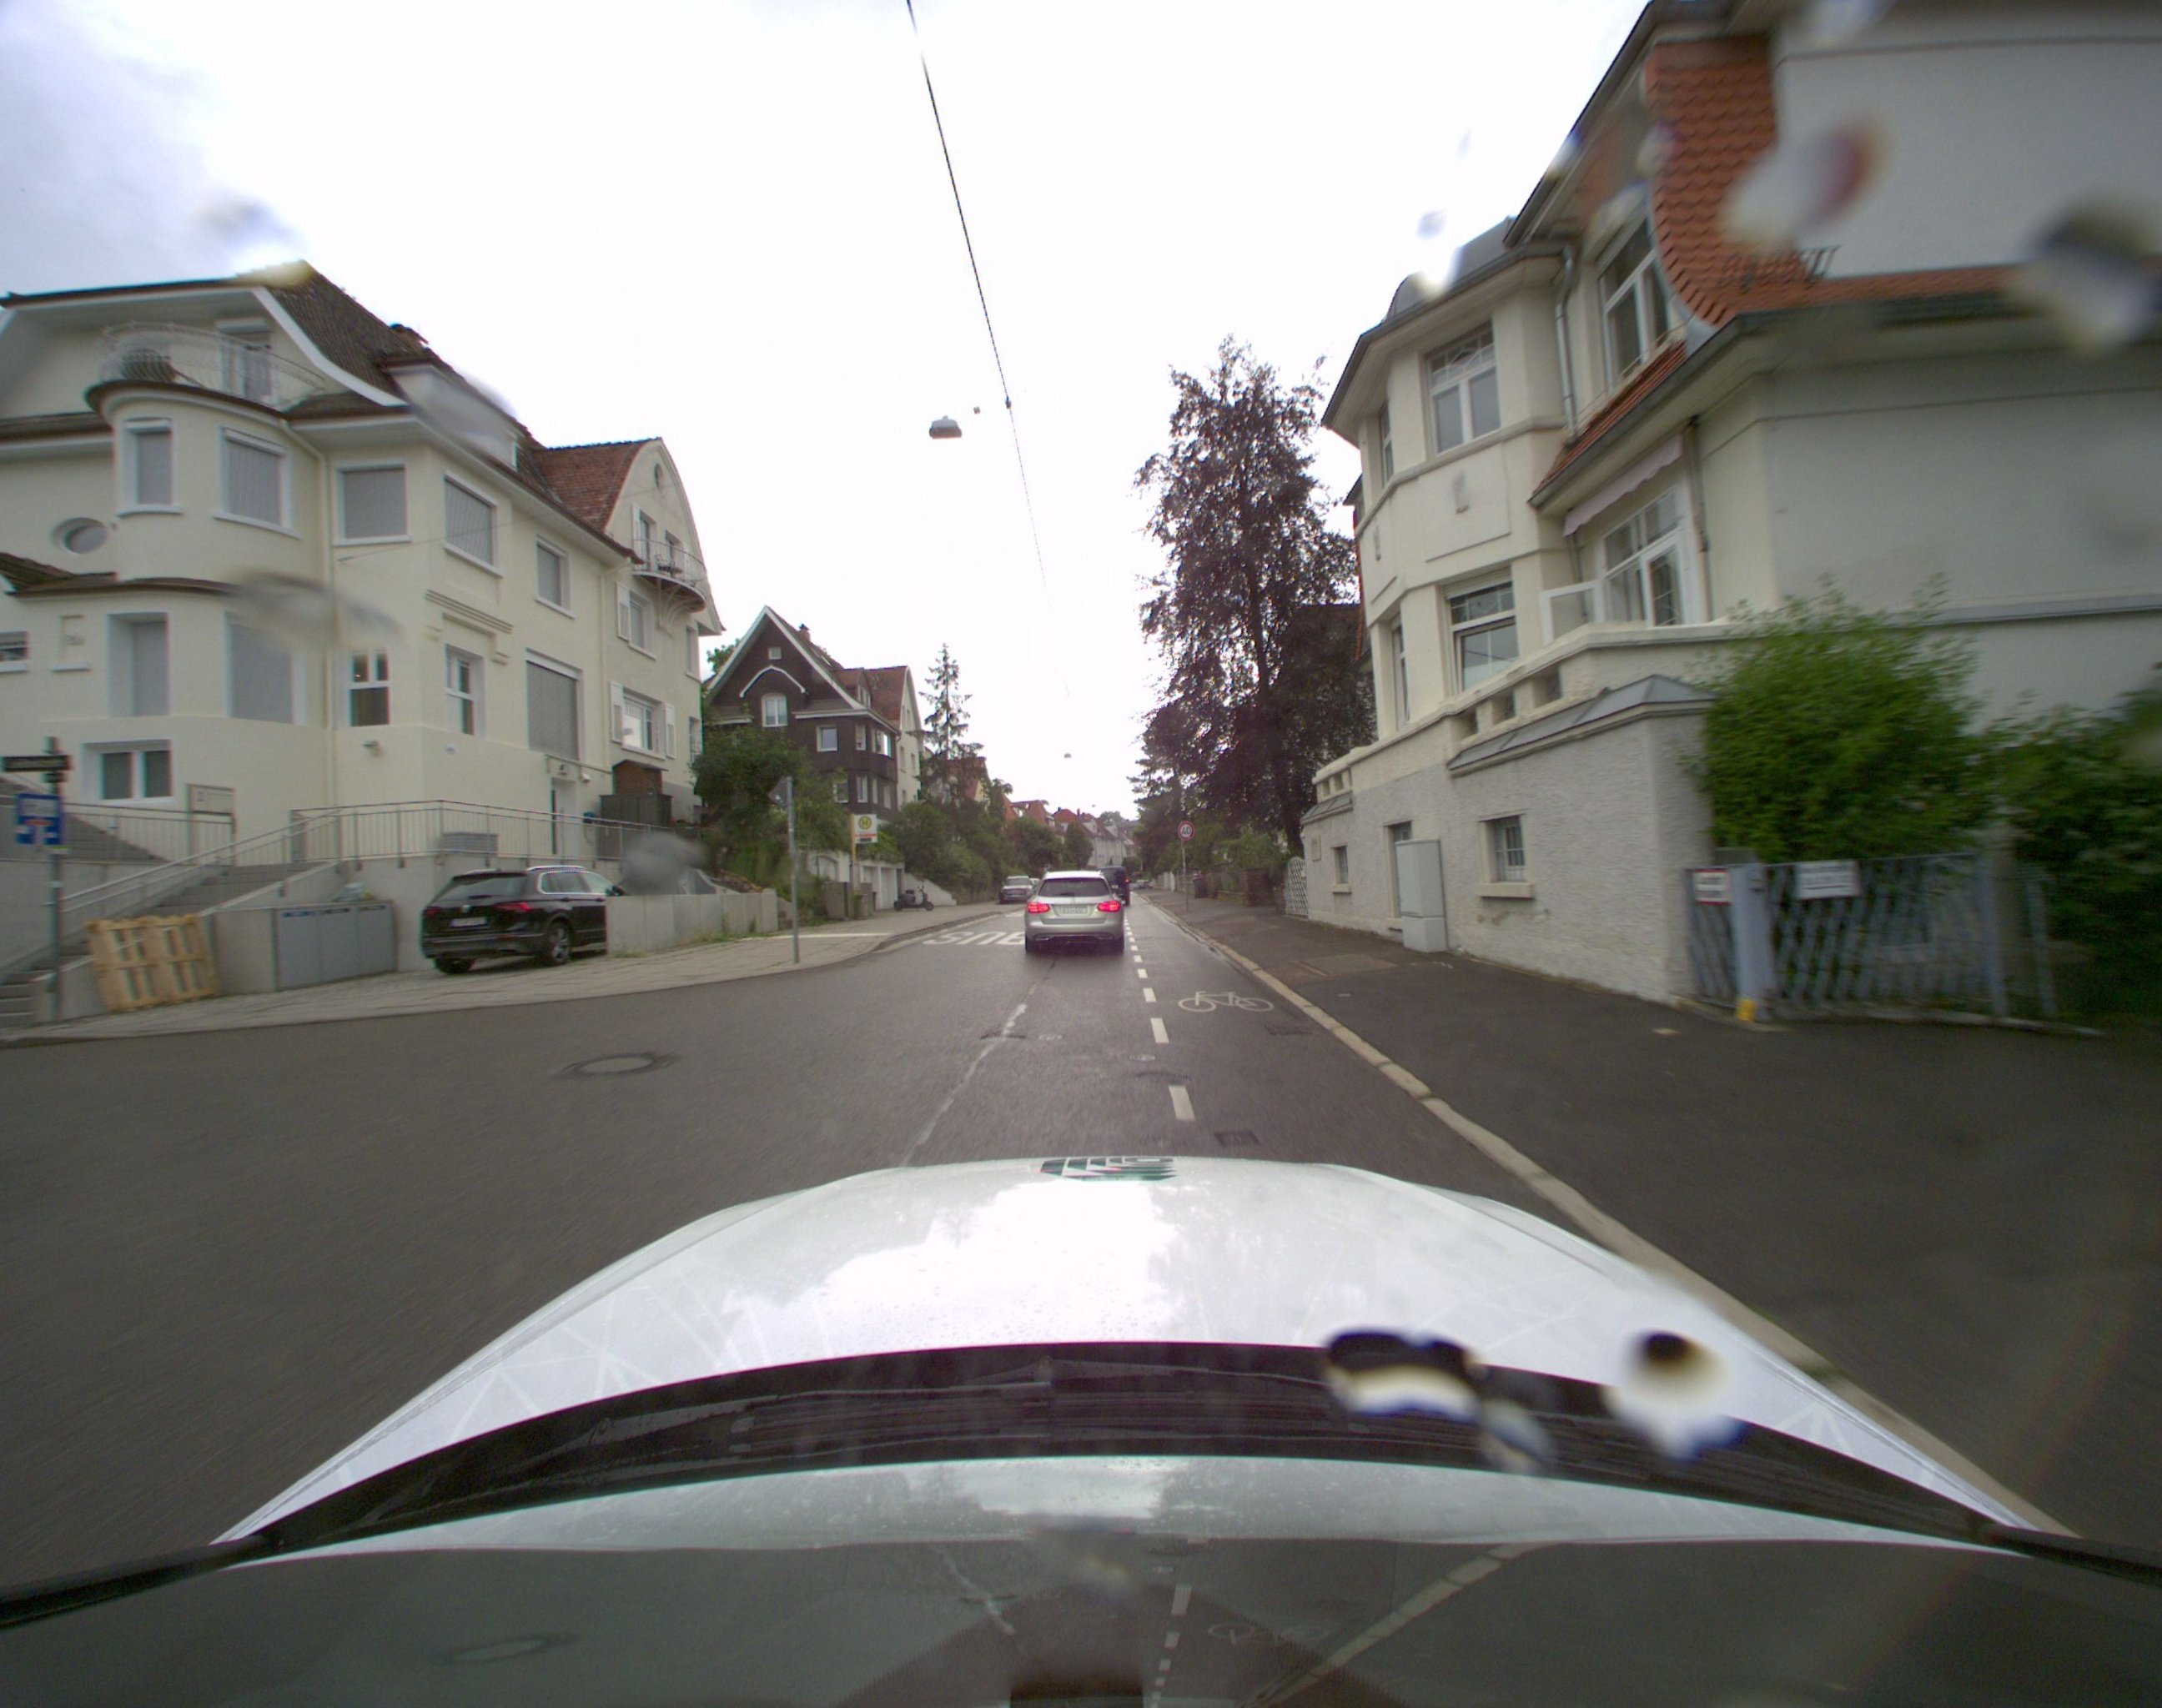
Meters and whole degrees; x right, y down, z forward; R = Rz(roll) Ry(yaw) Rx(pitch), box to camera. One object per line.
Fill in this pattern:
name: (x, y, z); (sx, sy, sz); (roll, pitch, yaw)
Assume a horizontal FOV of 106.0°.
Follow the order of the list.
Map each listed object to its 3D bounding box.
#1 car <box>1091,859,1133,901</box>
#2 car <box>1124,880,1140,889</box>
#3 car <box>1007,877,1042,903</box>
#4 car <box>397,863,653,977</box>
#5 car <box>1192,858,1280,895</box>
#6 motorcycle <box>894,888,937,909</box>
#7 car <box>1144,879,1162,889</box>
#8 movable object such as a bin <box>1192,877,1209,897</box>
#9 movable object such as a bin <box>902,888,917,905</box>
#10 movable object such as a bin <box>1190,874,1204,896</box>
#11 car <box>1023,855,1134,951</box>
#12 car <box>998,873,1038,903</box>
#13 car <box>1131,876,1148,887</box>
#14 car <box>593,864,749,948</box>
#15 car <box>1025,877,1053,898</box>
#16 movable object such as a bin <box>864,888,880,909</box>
car: (1.514, 1.280, 39.280); (1.835, 1.904, 4.002); (-2, -3, 3)
car: (8.994, 5.408, 143.501); (1.631, 1.417, 4.632); (-3, -2, 17)
car: (-3.656, 2.297, 53.095); (1.886, 1.447, 3.815); (-2, 0, 1)
car: (-9.384, 1.009, 14.203); (1.761, 1.618, 3.997); (-2, 0, -2)
car: (7.599, 1.089, 40.168); (3.972, 1.640, 1.919); (-2, 0, 1)
motorcycle: (-7.390, 1.970, 36.356); (1.787, 0.903, 0.603); (0, -2, 1)
car: (13.764, 5.755, 156.187); (1.976, 1.688, 4.702); (-3, 0, 23)
movable object such as a bin: (5.329, 1.467, 36.400); (0.649, 0.855, 0.503); (-2, 0, 0)
movable object such as a bin: (-9.461, 2.368, 45.025); (0.625, 0.889, 0.482); (-2, -1, -43)
movable object such as a bin: (5.272, 1.423, 37.051); (0.492, 0.956, 0.503); (-2, -1, 0)
car: (-0.055, 0.879, 15.629); (1.811, 1.557, 3.998); (-2, -2, -1)
car: (-3.658, 1.954, 48.061); (1.886, 1.622, 4.379); (-2, -2, 1)
car: (10.806, 5.070, 149.572); (1.814, 2.056, 5.033); (-3, -3, 19)
car: (-9.613, 1.134, 19.470); (1.761, 1.696, 3.997); (-2, 0, -2)
car: (-3.196, 2.545, 62.613); (1.749, 1.447, 4.417); (-2, 0, 1)
movable object such as a bin: (-9.656, 2.056, 37.616); (0.572, 0.954, 0.512); (-2, -1, -3)
